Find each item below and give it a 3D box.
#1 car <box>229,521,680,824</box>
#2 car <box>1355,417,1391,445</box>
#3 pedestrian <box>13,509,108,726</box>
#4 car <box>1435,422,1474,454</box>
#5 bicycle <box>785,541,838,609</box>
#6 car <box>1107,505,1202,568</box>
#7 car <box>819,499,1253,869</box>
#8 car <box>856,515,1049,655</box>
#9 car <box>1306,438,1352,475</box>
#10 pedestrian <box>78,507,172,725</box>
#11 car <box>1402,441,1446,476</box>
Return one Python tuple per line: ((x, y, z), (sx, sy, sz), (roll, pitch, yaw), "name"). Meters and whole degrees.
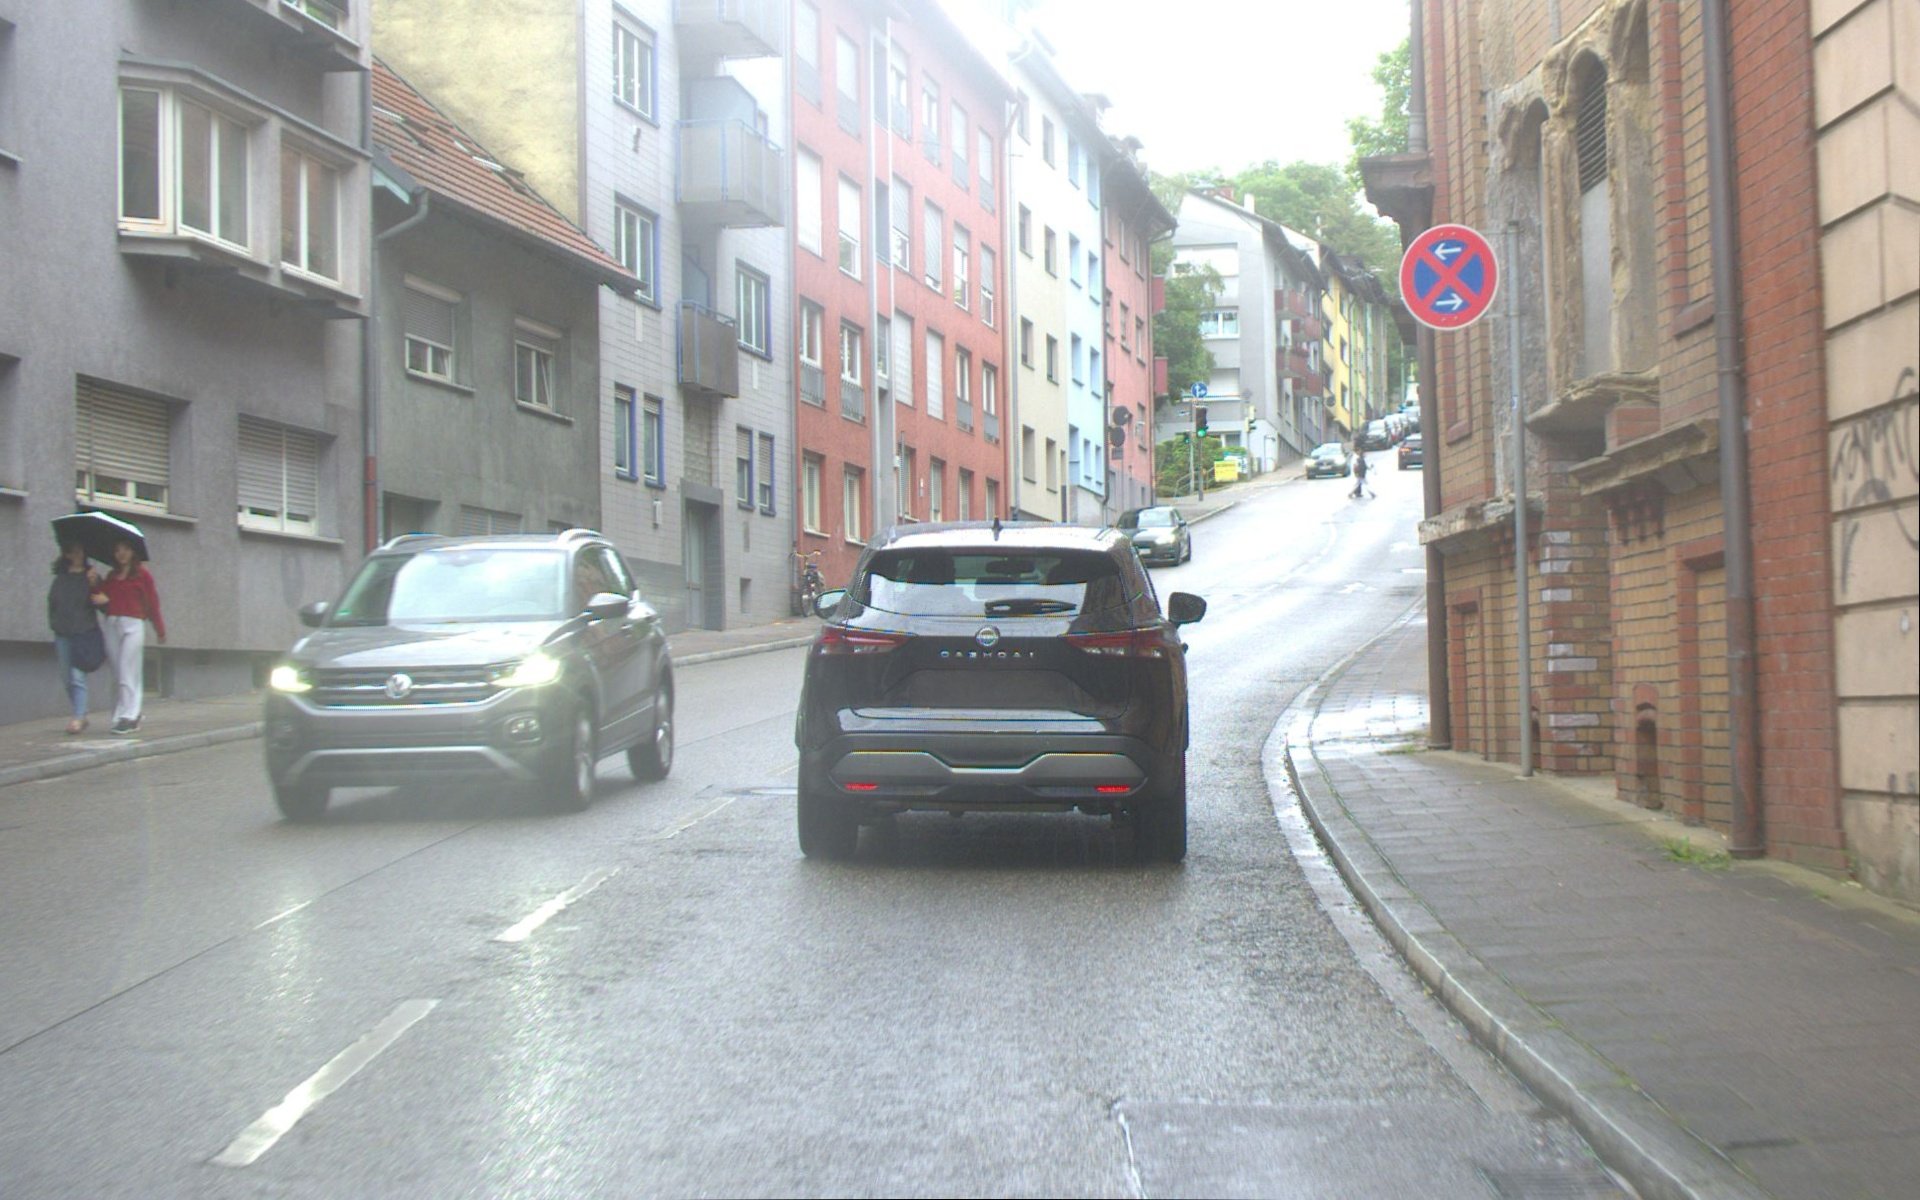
((-2.848, 0.360, 20.192), (1.764, 1.571, 3.764), (-1, 1, 5), "car")
((23.113, -9.450, 192.292), (1.795, 1.505, 3.999), (-1, 2, 10), "car")
((-7.470, 0.137, 28.572), (0.523, 1.770, 0.622), (-2, 1, 4), "pedestrian")
((24.668, -8.067, 171.422), (1.795, 1.505, 3.999), (-1, 2, 10), "car")
((-2.577, -0.451, 59.802), (0.499, 1.104, 1.799), (-1, 2, 11), "bicycle")
((4.645, -1.527, 81.769), (1.645, 1.373, 3.849), (-2, 1, 12), "car")
((0.327, 0.344, 17.176), (1.881, 1.588, 3.921), (-2, 1, 0), "car")
((-0.038, -0.204, 41.710), (1.765, 1.571, 4.035), (-1, 1, 8), "car")
((15.739, -6.139, 146.657), (1.714, 1.443, 3.920), (-2, 3, 9), "car")
((-6.929, 0.126, 28.543), (0.523, 1.770, 0.622), (-2, 1, 4), "pedestrian")
((21.023, -6.405, 155.709), (1.795, 1.505, 3.999), (-1, 2, 10), "car")
